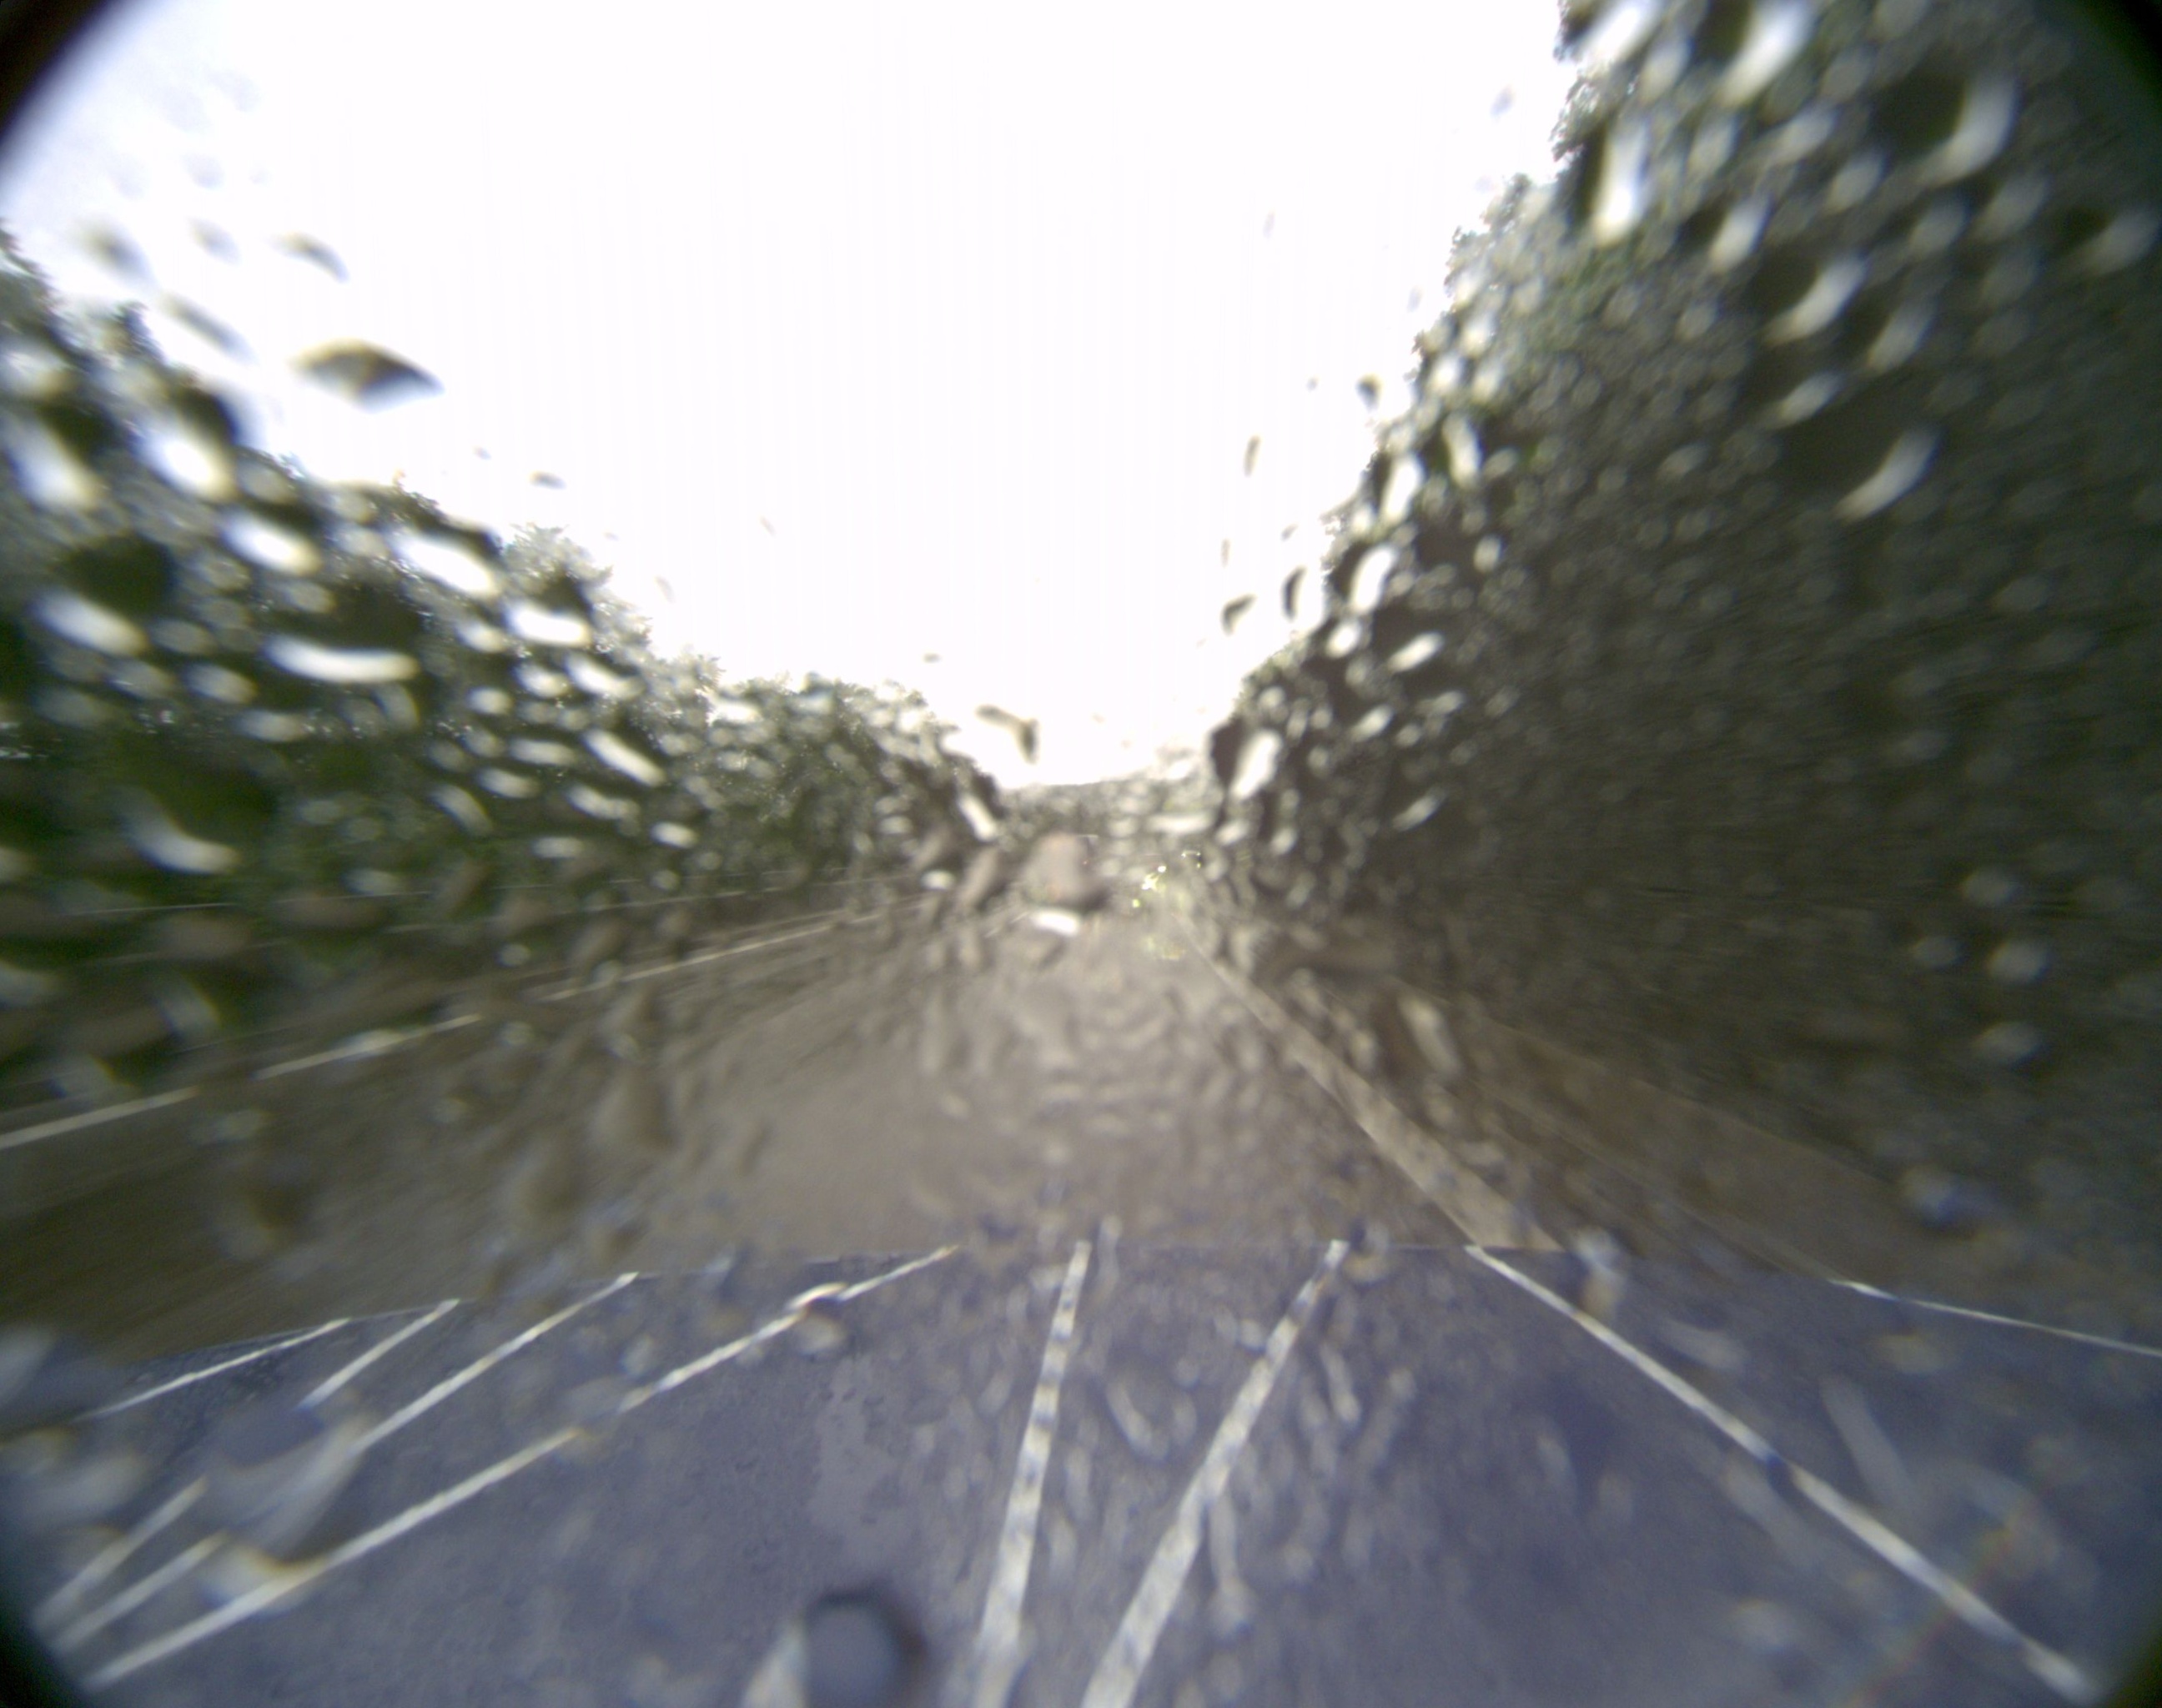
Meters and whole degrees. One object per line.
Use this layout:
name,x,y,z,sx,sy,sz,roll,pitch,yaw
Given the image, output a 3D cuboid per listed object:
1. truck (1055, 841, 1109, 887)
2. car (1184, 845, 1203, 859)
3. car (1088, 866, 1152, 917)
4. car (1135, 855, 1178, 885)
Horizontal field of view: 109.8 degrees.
truck,0.173,0.515,45.159,2.107,2.481,8.006,-1,0,8
car,13.029,-0.229,88.101,1.826,1.375,4.003,-4,0,13
car,1.261,1.130,24.080,1.827,1.375,4.001,-1,0,4
car,4.077,0.830,40.580,1.826,1.375,4.003,-4,0,11
